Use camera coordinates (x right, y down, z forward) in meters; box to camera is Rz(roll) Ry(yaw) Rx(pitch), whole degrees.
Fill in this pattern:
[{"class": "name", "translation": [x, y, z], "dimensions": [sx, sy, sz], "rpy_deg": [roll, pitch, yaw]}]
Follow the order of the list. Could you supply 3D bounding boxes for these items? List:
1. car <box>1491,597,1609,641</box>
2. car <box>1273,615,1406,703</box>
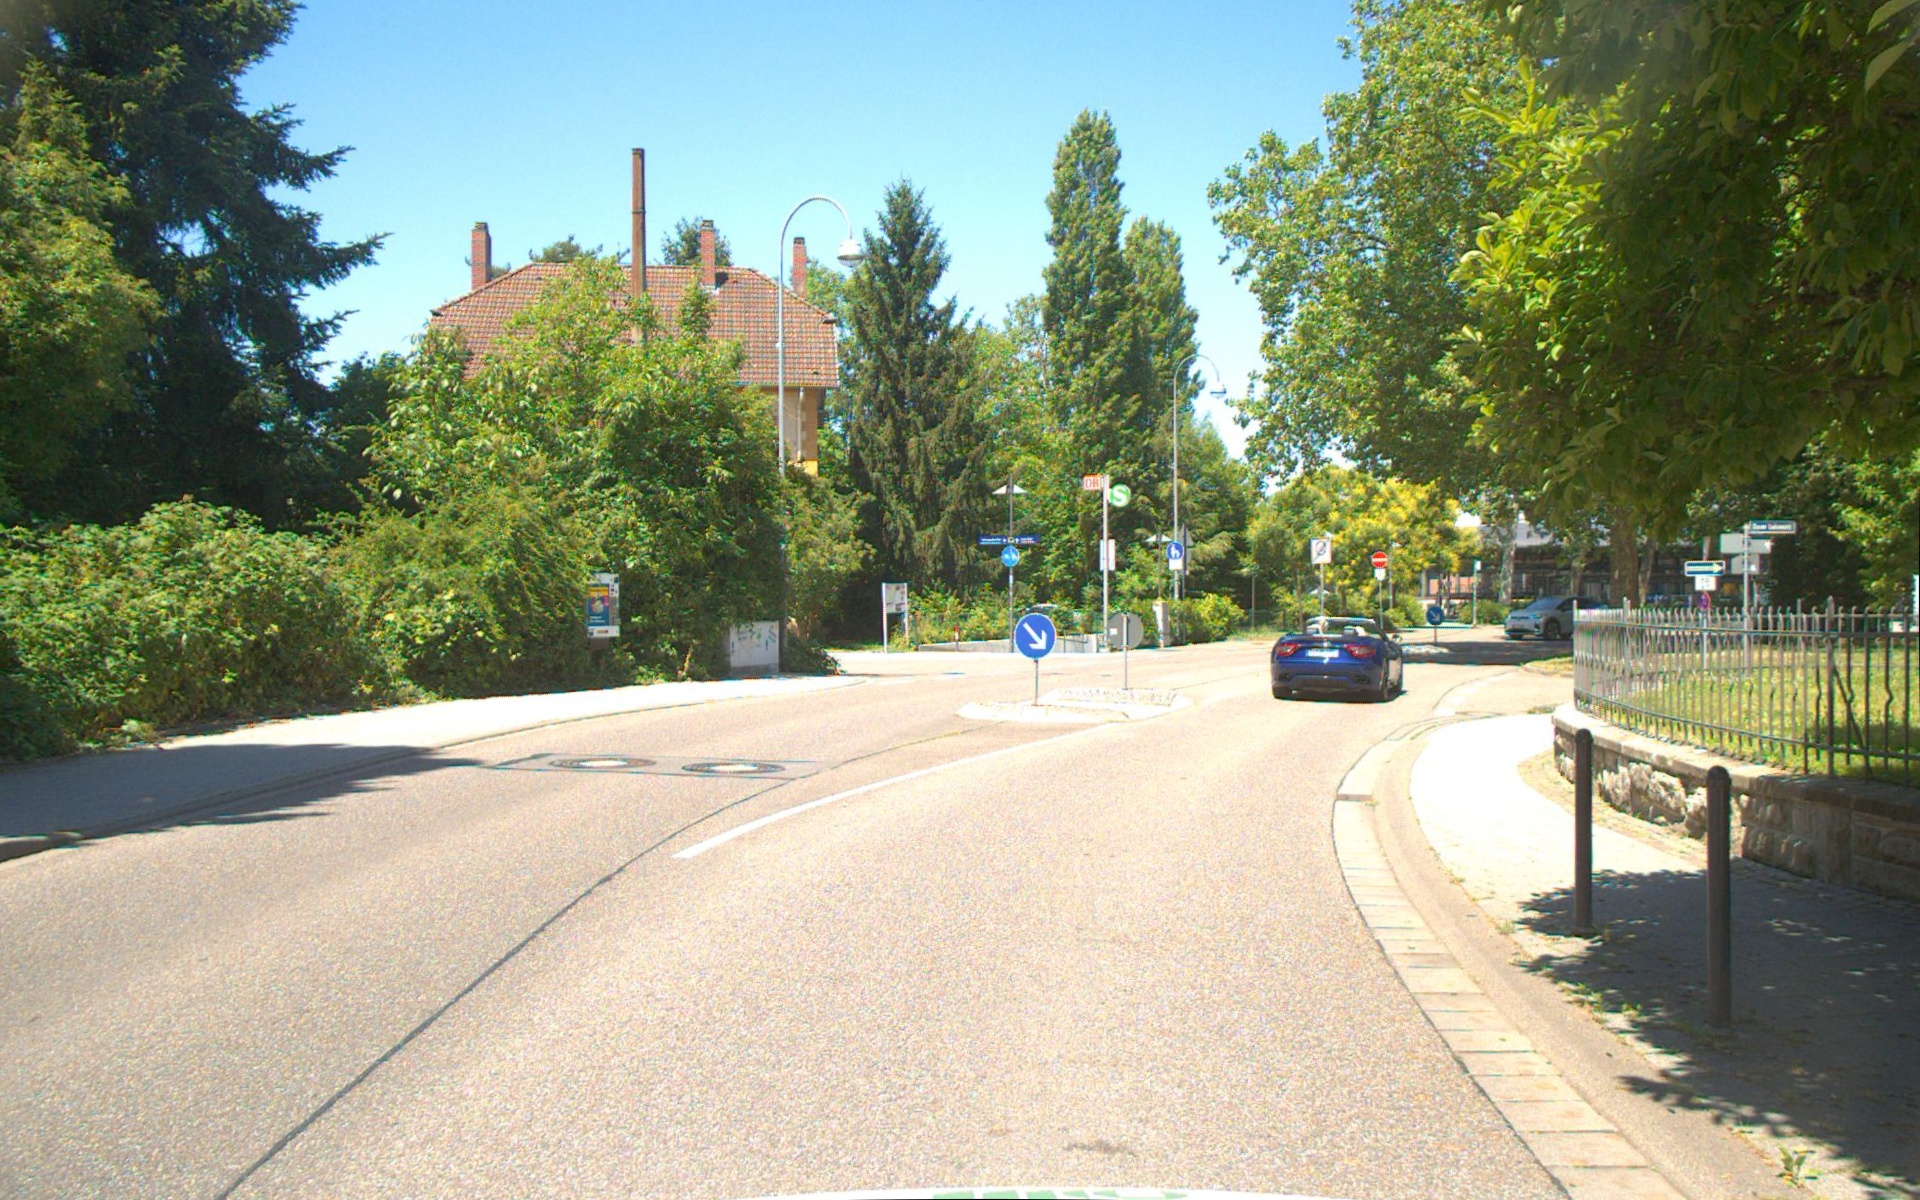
[{"class": "car", "translation": [22.233, 0.699, 62.296], "dimensions": [4.411, 1.604, 1.808], "rpy_deg": [0, 0, -30]}, {"class": "car", "translation": [6.655, 0.950, 28.649], "dimensions": [1.788, 1.360, 4.702], "rpy_deg": [0, 0, 19]}]
